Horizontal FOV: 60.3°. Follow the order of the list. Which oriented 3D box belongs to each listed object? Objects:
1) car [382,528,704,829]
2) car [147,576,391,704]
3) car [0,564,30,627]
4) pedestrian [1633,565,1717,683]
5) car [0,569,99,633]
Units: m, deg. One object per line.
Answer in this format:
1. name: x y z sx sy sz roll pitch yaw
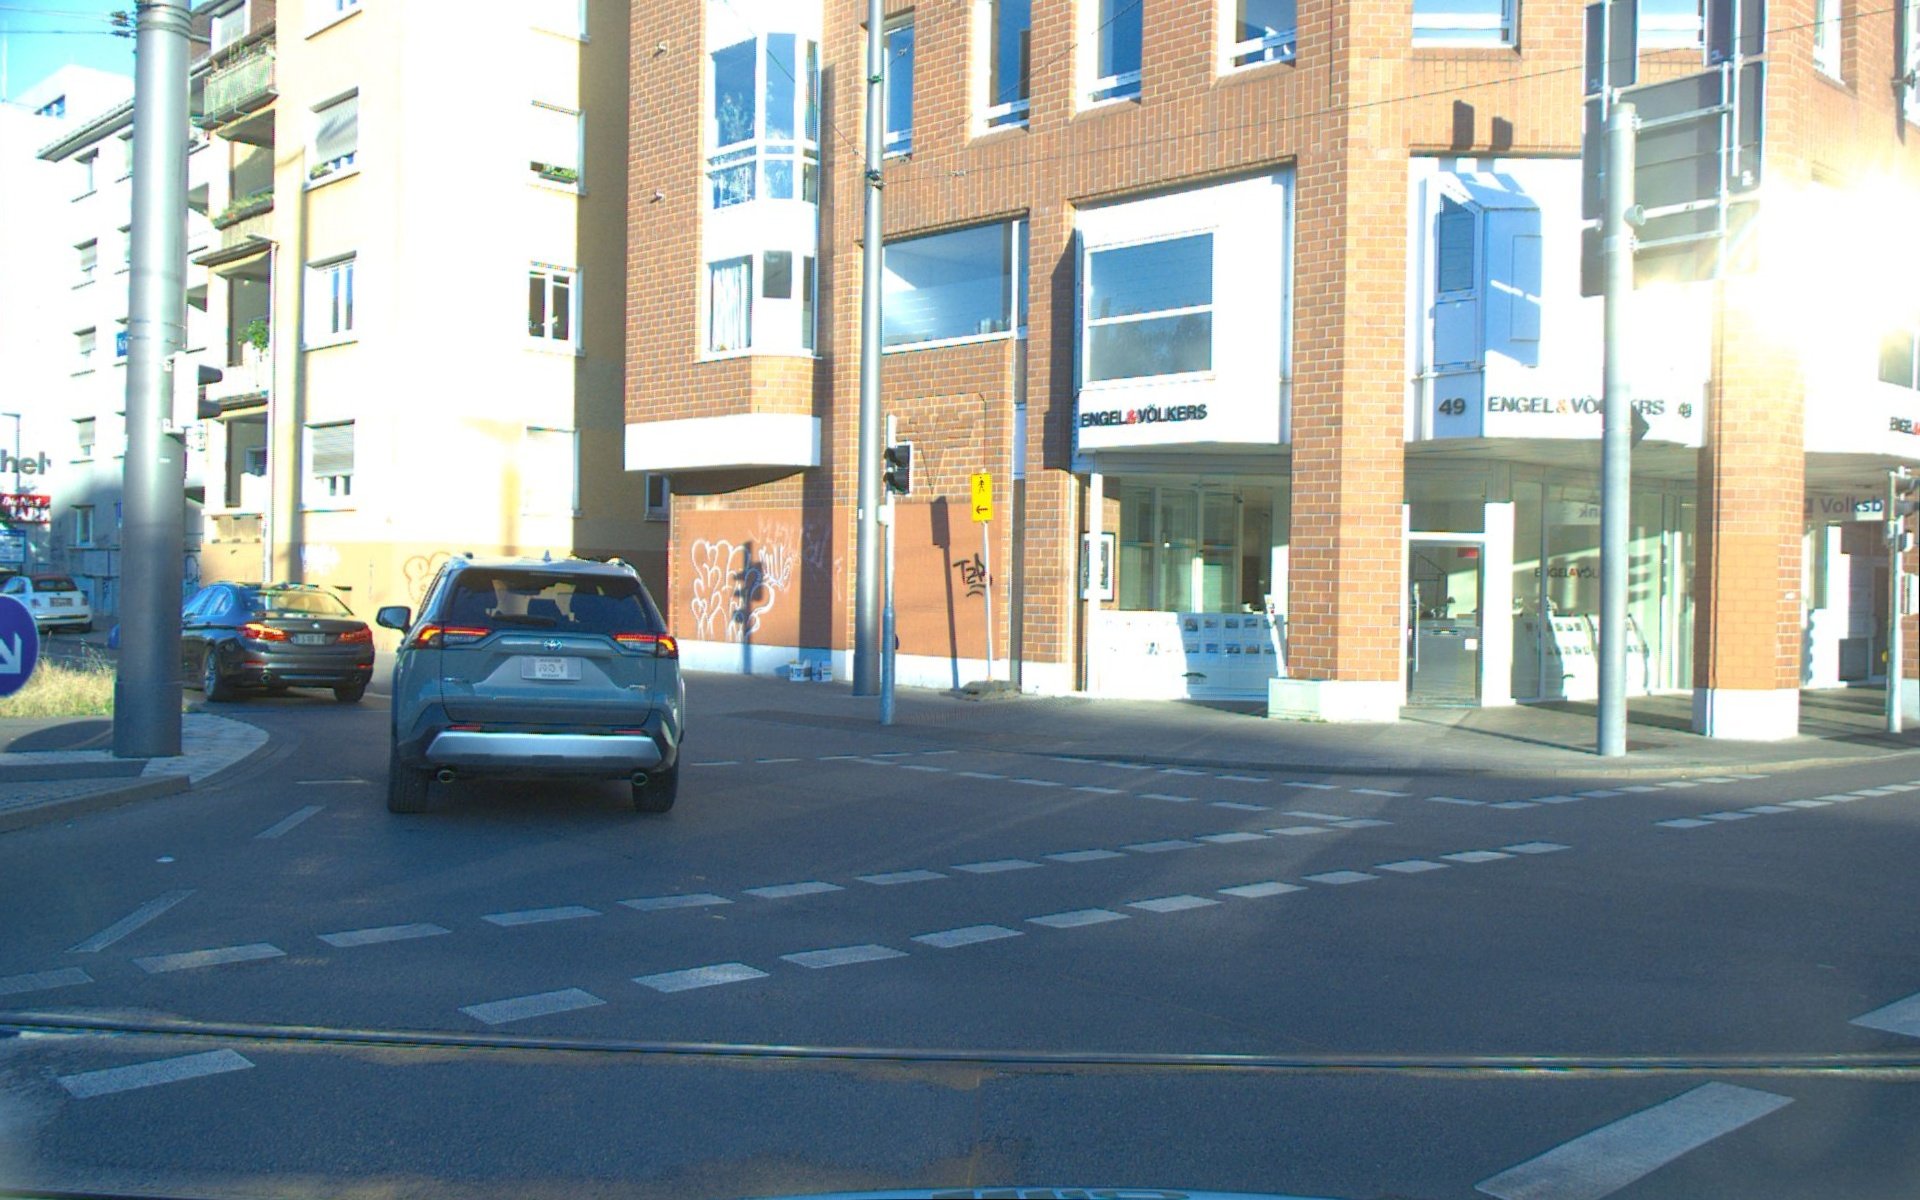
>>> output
1. car: -3.143 0.477 11.876 1.830 1.744 4.169 2 -1 -19
2. car: -9.073 0.473 21.543 1.845 1.488 4.134 2 -1 -39
3. car: -27.812 -0.153 46.489 4.453 1.682 1.750 2 3 45
4. pedestrian: 11.287 0.364 26.111 0.921 1.782 0.802 0 4 -40
5. car: -23.938 -0.010 42.956 3.537 1.544 1.665 1 3 42
